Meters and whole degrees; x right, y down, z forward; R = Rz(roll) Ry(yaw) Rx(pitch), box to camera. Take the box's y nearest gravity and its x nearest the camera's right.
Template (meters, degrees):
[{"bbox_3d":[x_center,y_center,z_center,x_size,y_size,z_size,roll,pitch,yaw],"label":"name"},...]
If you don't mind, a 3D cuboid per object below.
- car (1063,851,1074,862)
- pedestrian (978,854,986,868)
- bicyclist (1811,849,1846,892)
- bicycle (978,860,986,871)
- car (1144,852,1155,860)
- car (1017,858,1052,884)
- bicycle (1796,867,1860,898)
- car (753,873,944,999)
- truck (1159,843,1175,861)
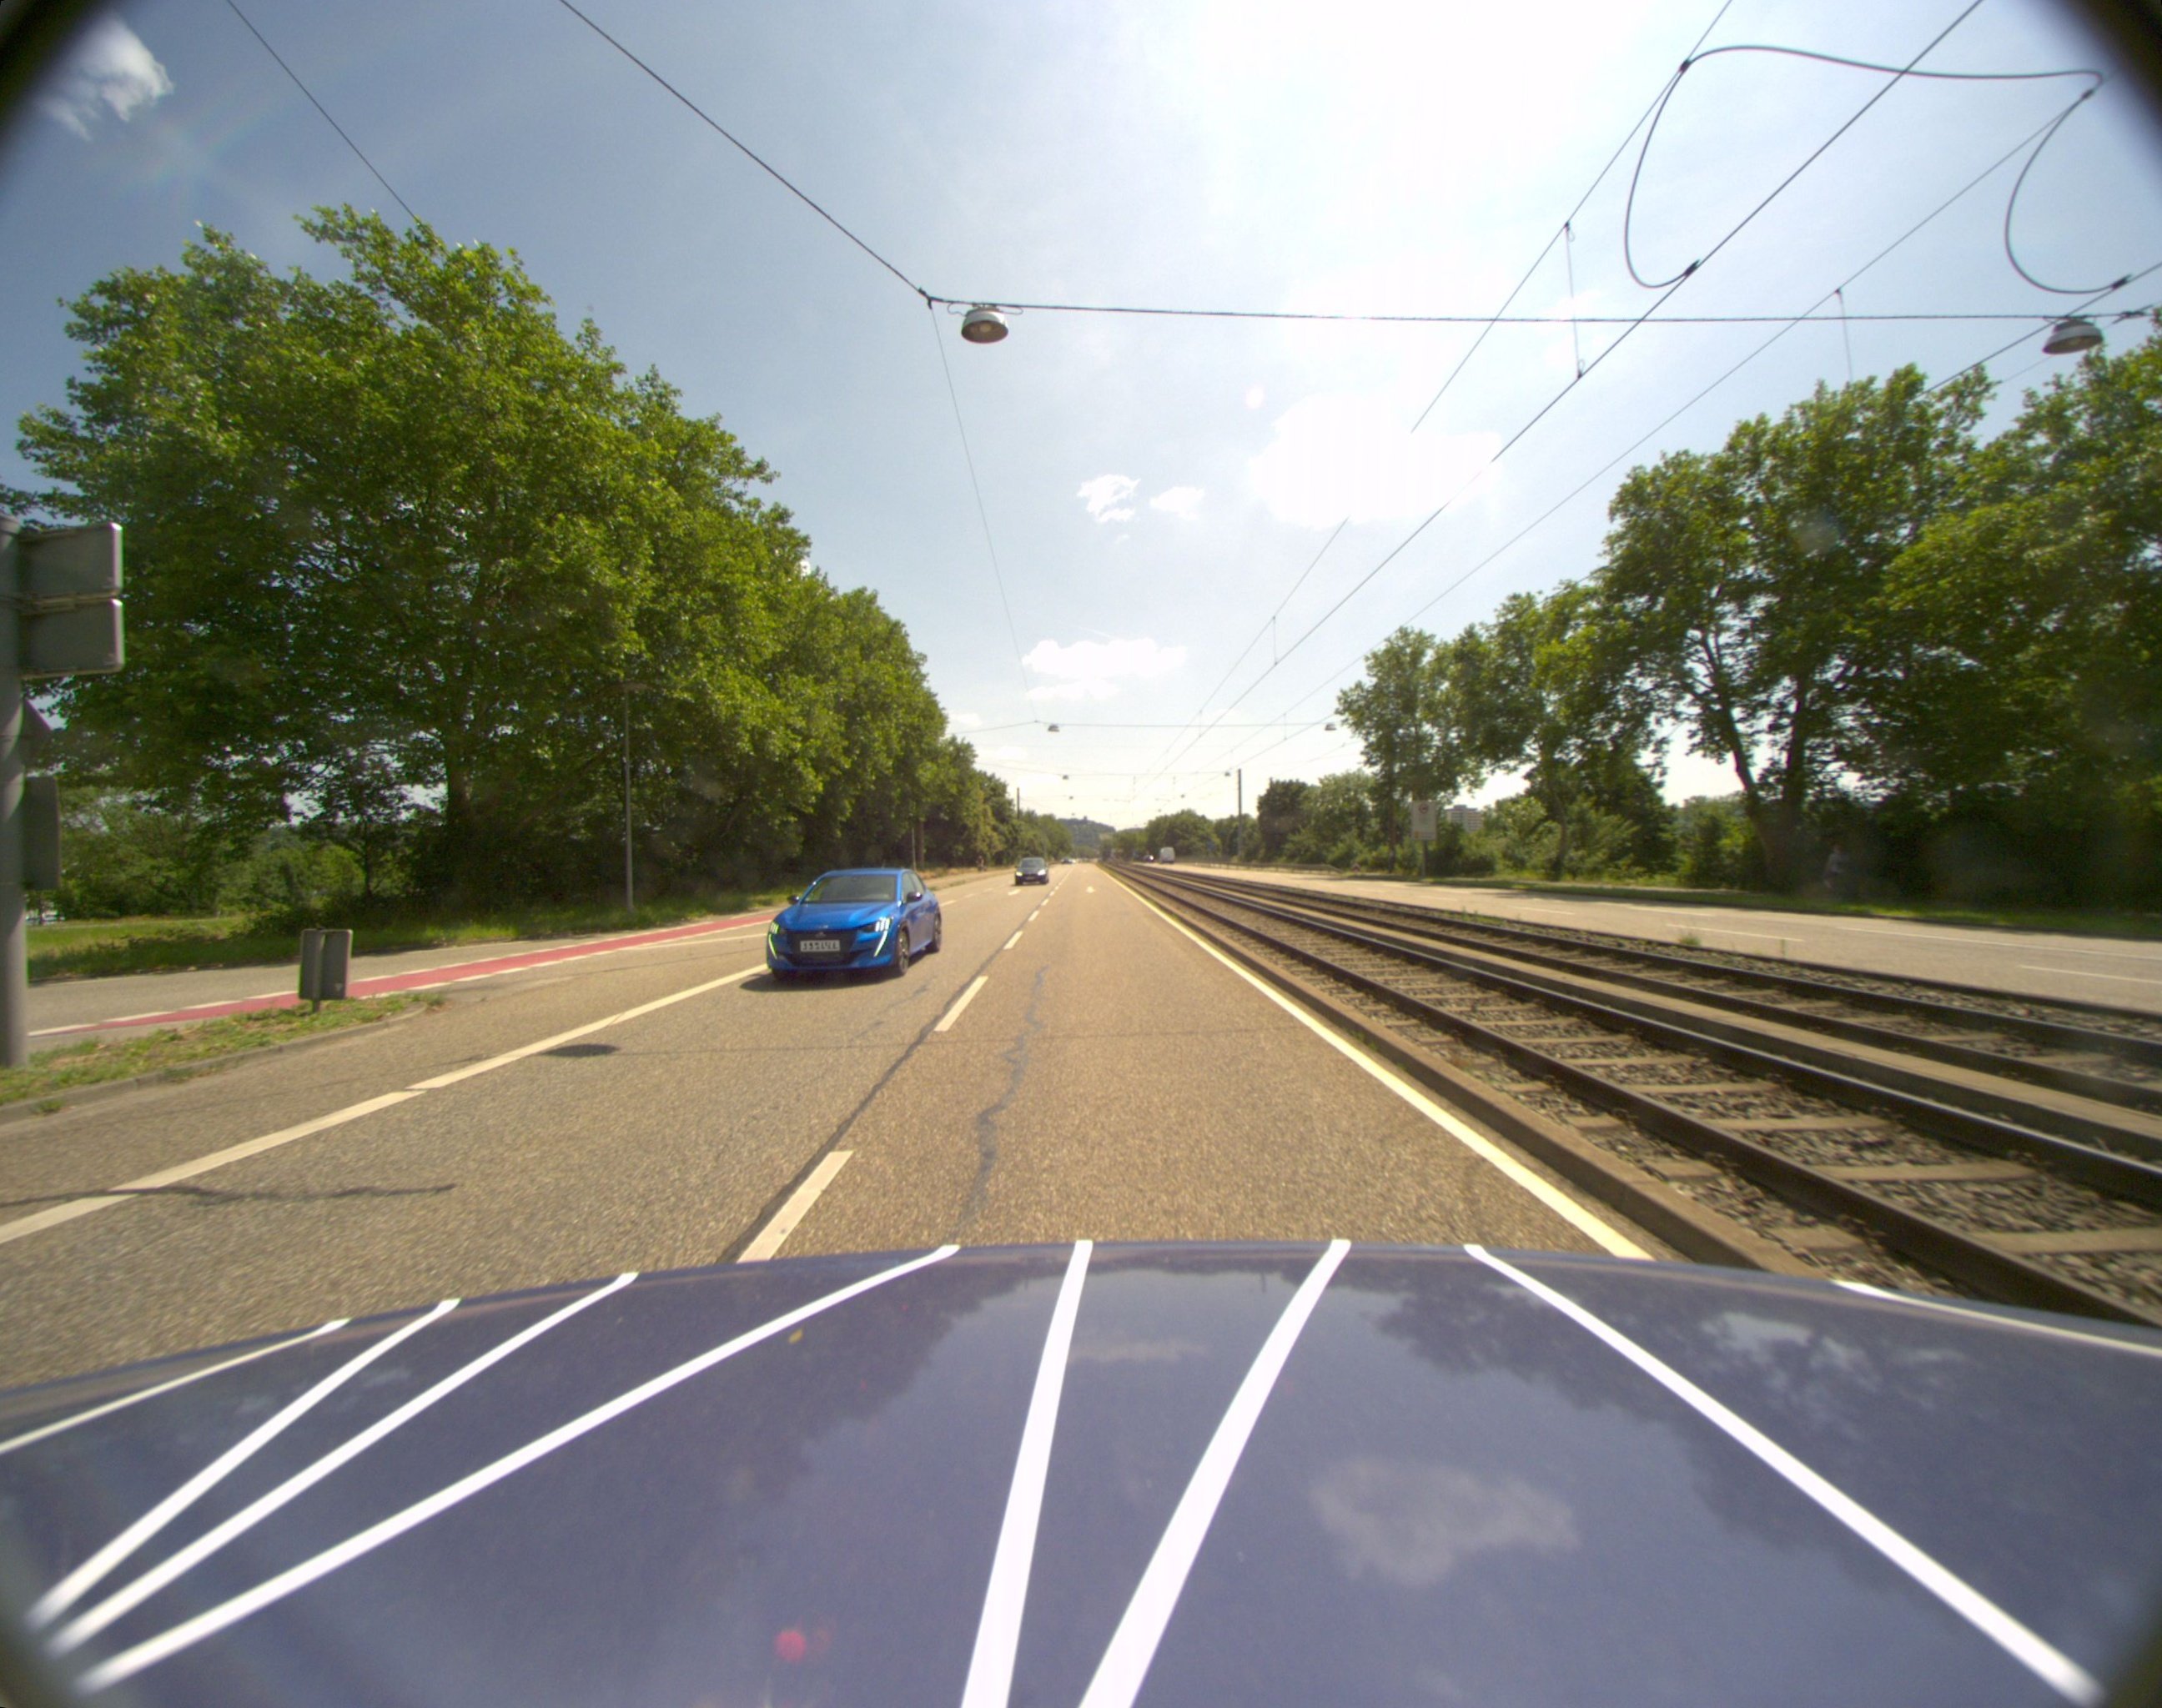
[{"bbox_3d":[-2.443,0.509,145.776,1.999,2.002,3.999,-1,0,-1],"label":"car"},{"bbox_3d":[-9.728,0.655,74.697,0.629,1.366,1.050,-1,1,0],"label":"pedestrian"},{"bbox_3d":[25.332,0.551,25.754,0.586,1.421,0.646,0,1,13],"label":"bicyclist"},{"bbox_3d":[-9.712,1.130,74.639,0.561,1.018,1.848,-1,1,1],"label":"bicycle"},{"bbox_3d":[13.987,0.368,155.698,1.822,1.505,4.427,0,0,0],"label":"car"},{"bbox_3d":[-2.653,0.971,44.256,1.770,1.359,3.743,-2,0,0],"label":"car"},{"bbox_3d":[25.327,0.940,25.801,0.732,0.982,1.762,0,0,13],"label":"bicycle"},{"bbox_3d":[-3.205,1.057,11.250,1.660,1.397,3.743,-2,0,-1],"label":"car"},{"bbox_3d":[14.387,-0.411,127.628,2.059,2.922,6.319,0,0,0],"label":"truck"}]
